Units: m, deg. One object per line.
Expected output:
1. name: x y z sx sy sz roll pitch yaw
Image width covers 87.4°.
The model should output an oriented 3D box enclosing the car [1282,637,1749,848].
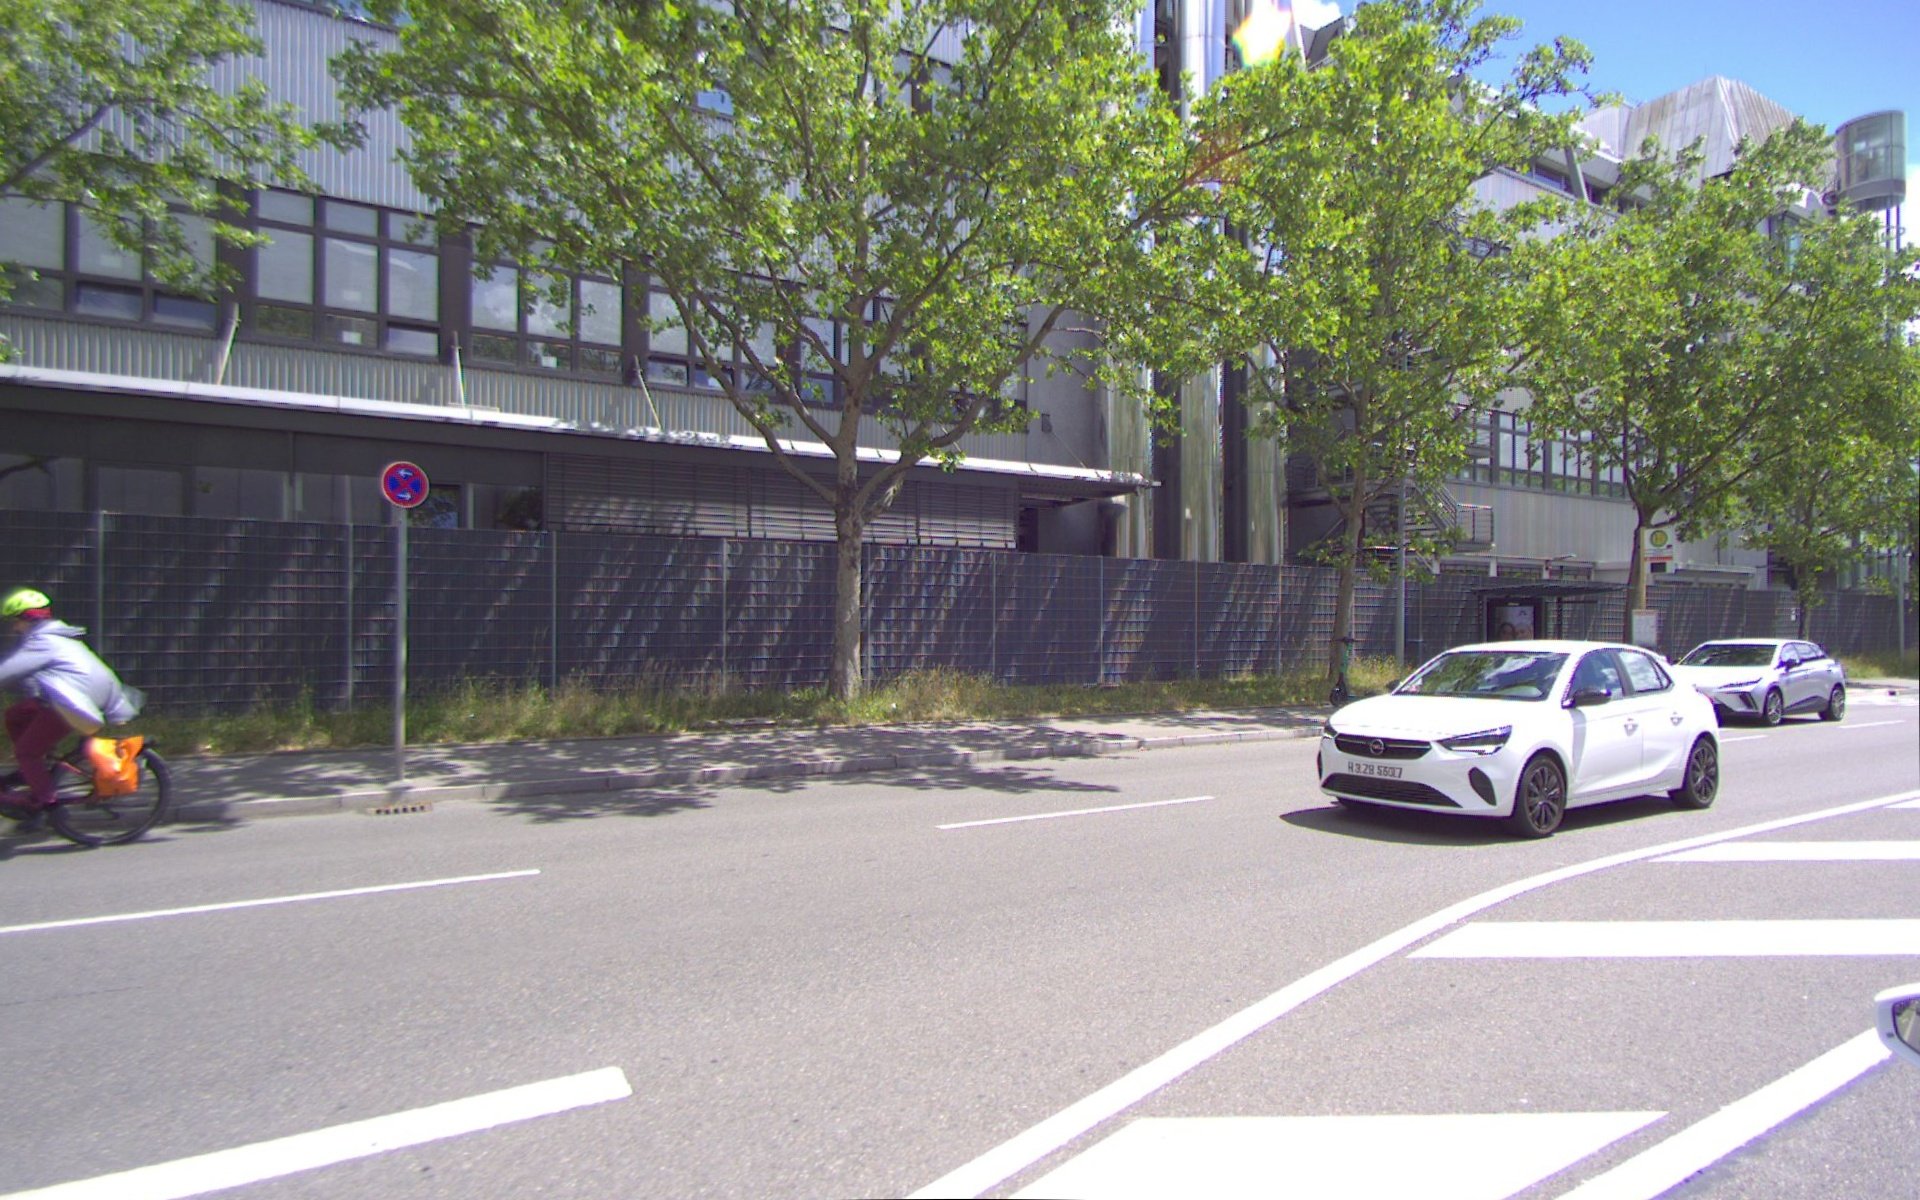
1. car: 4.854 1.057 8.657 4.097 1.433 1.683 2 -3 -31

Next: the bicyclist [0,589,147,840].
1. bicyclist: -6.452 0.759 6.887 1.210 1.618 0.950 2 -3 -33

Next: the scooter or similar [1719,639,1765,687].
1. scooter or similar: 21.478 1.712 27.595 1.302 1.251 0.520 0 3 -31

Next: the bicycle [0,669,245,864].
1. bicycle: -6.467 1.115 6.908 2.447 1.251 0.732 2 -3 -33

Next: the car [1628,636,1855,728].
1. car: 14.520 1.437 18.624 4.140 1.525 1.870 1 -3 -30

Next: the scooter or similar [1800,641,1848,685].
1. scooter or similar: 25.876 1.885 30.084 1.299 1.251 0.521 1 2 -24
